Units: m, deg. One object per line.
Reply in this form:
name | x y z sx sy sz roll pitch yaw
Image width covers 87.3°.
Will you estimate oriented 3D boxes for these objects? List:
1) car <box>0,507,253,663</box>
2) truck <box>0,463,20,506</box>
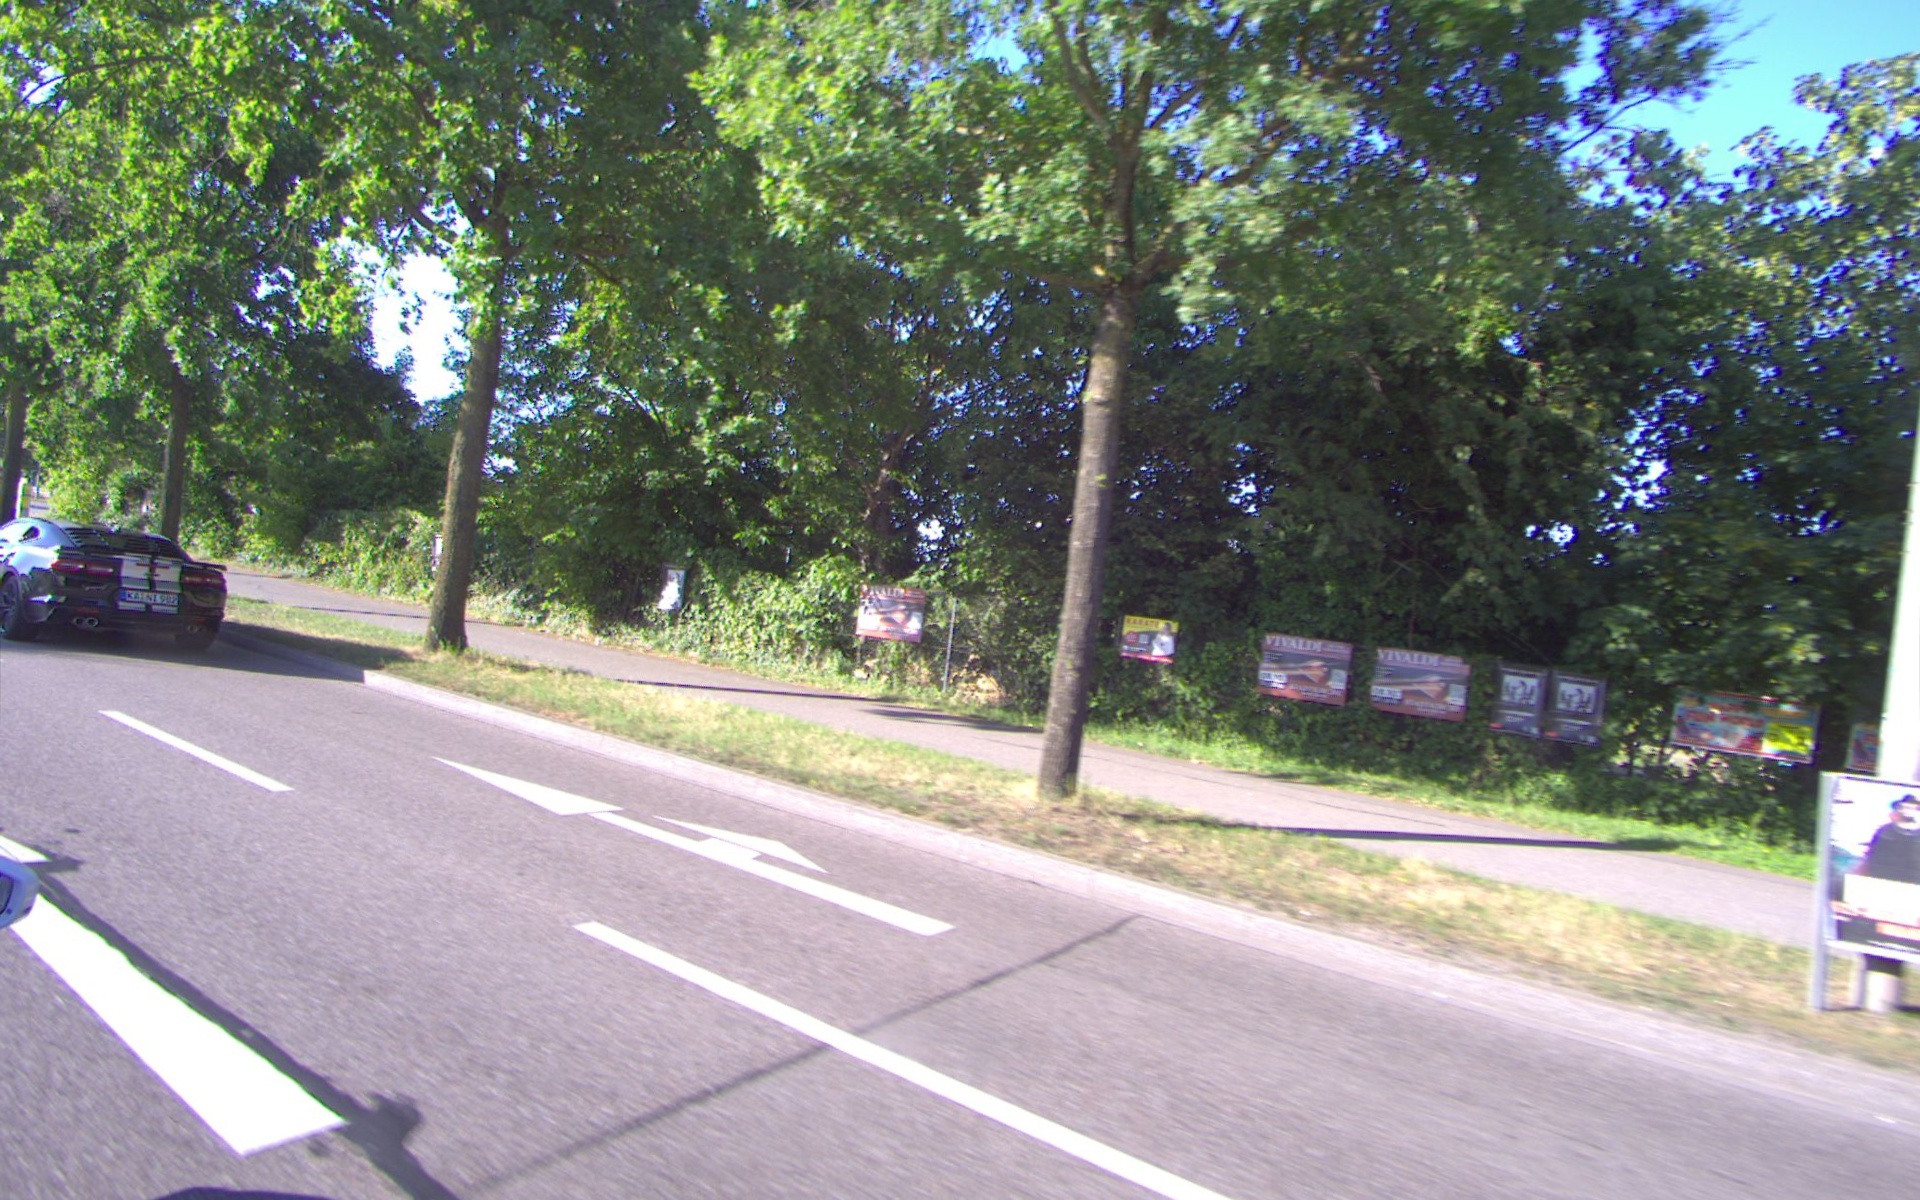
car | -10.660 -0.271 12.179 4.550 1.354 1.856 8 0 34
truck | -60.509 -7.346 61.356 2.557 2.589 6.211 8 0 -25
